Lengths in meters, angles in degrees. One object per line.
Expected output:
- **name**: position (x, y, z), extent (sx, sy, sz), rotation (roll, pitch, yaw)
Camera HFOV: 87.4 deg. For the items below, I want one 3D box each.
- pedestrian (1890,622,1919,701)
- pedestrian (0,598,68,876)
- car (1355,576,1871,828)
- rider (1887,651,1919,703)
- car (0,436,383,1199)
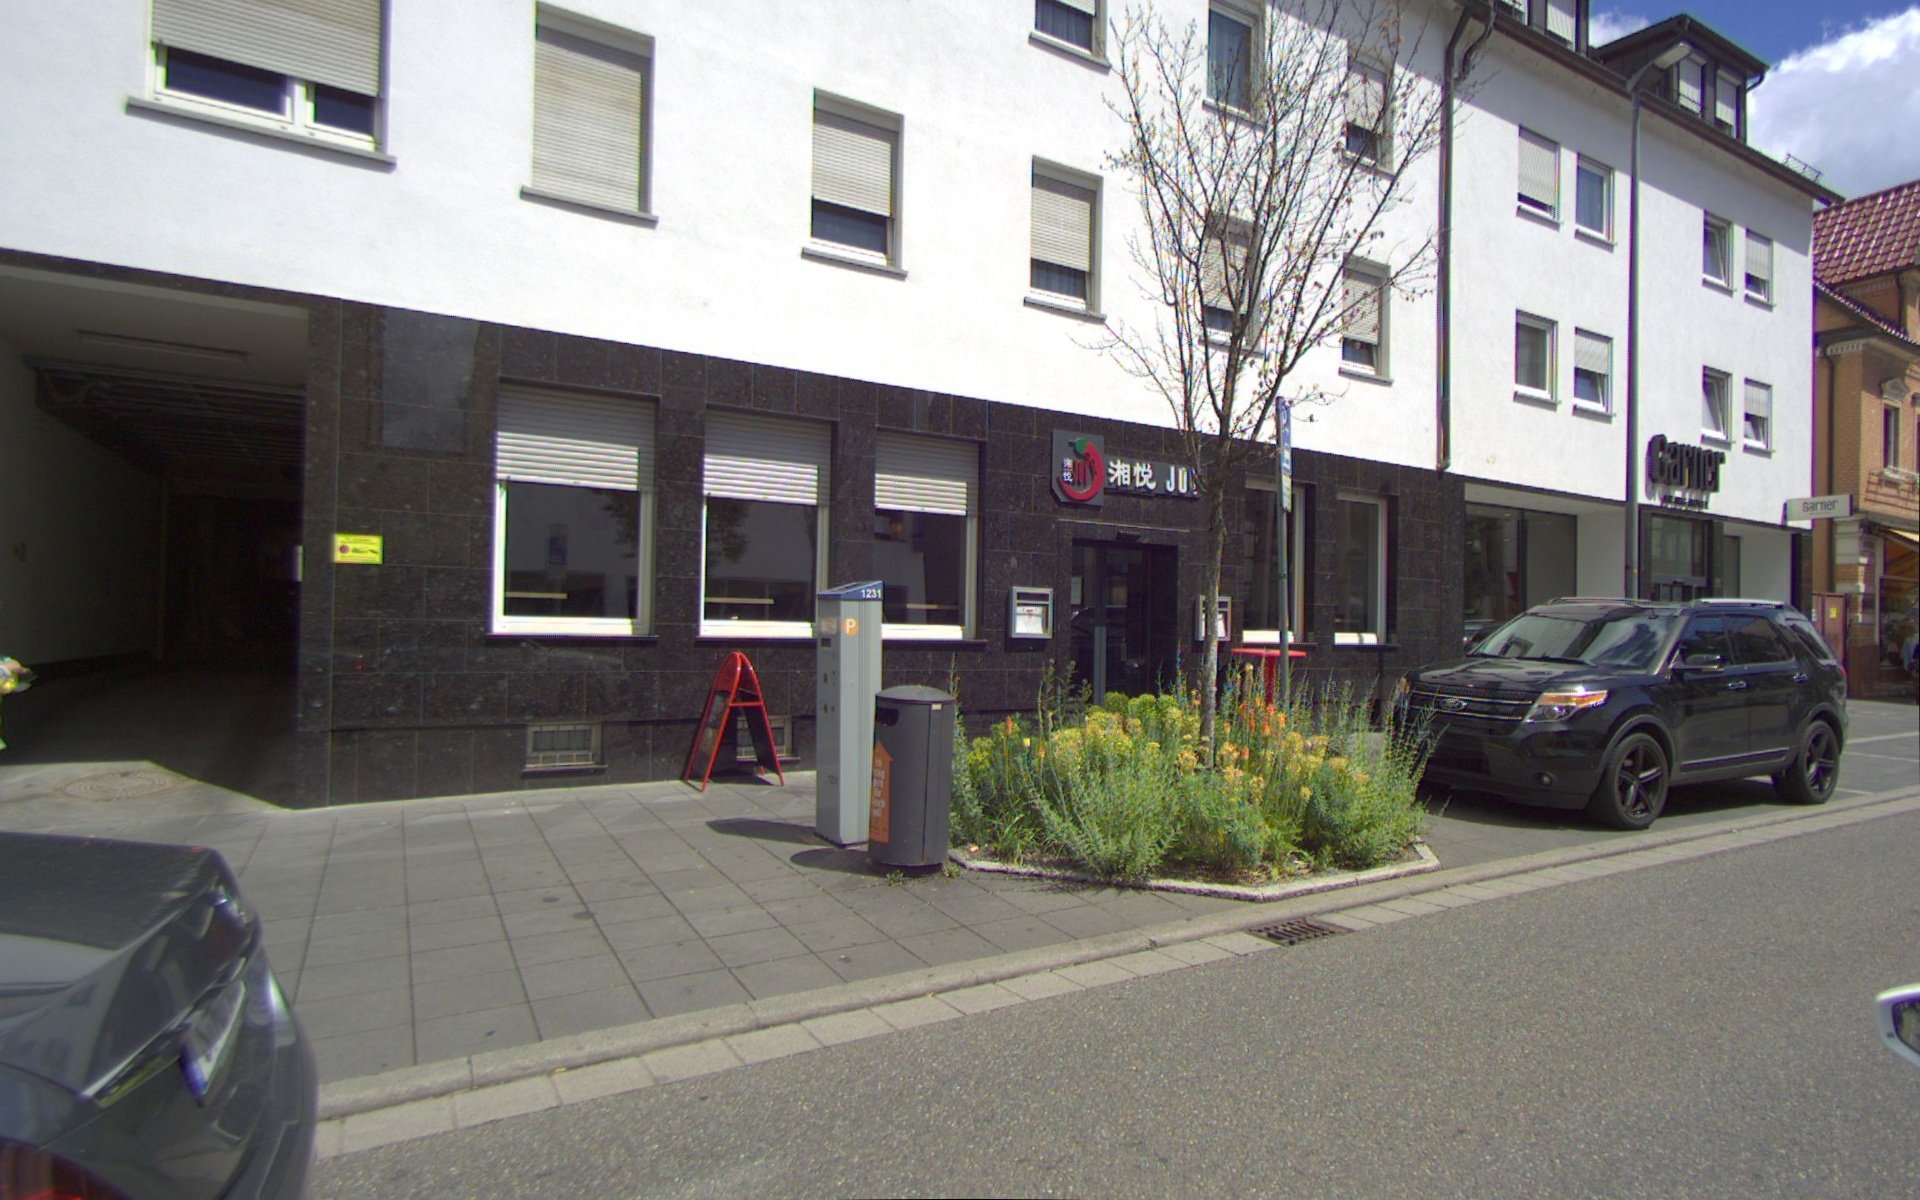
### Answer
- **pedestrian**: position (19.923, 1.269, 20.686), extent (0.766, 1.595, 0.806), rotation (2, 0, -13)
- **pedestrian**: position (-5.432, 0.732, 5.574), extent (0.556, 1.474, 0.651), rotation (2, 0, -29)
- **car**: position (5.901, 0.789, 8.976), extent (4.610, 1.778, 1.809), rotation (2, 0, -28)
- **rider**: position (19.477, 1.565, 20.307), extent (0.694, 1.027, 0.804), rotation (2, 0, -13)
- **car**: position (-2.971, 0.630, 0.518), extent (4.590, 1.584, 1.896), rotation (1, 1, -30)
